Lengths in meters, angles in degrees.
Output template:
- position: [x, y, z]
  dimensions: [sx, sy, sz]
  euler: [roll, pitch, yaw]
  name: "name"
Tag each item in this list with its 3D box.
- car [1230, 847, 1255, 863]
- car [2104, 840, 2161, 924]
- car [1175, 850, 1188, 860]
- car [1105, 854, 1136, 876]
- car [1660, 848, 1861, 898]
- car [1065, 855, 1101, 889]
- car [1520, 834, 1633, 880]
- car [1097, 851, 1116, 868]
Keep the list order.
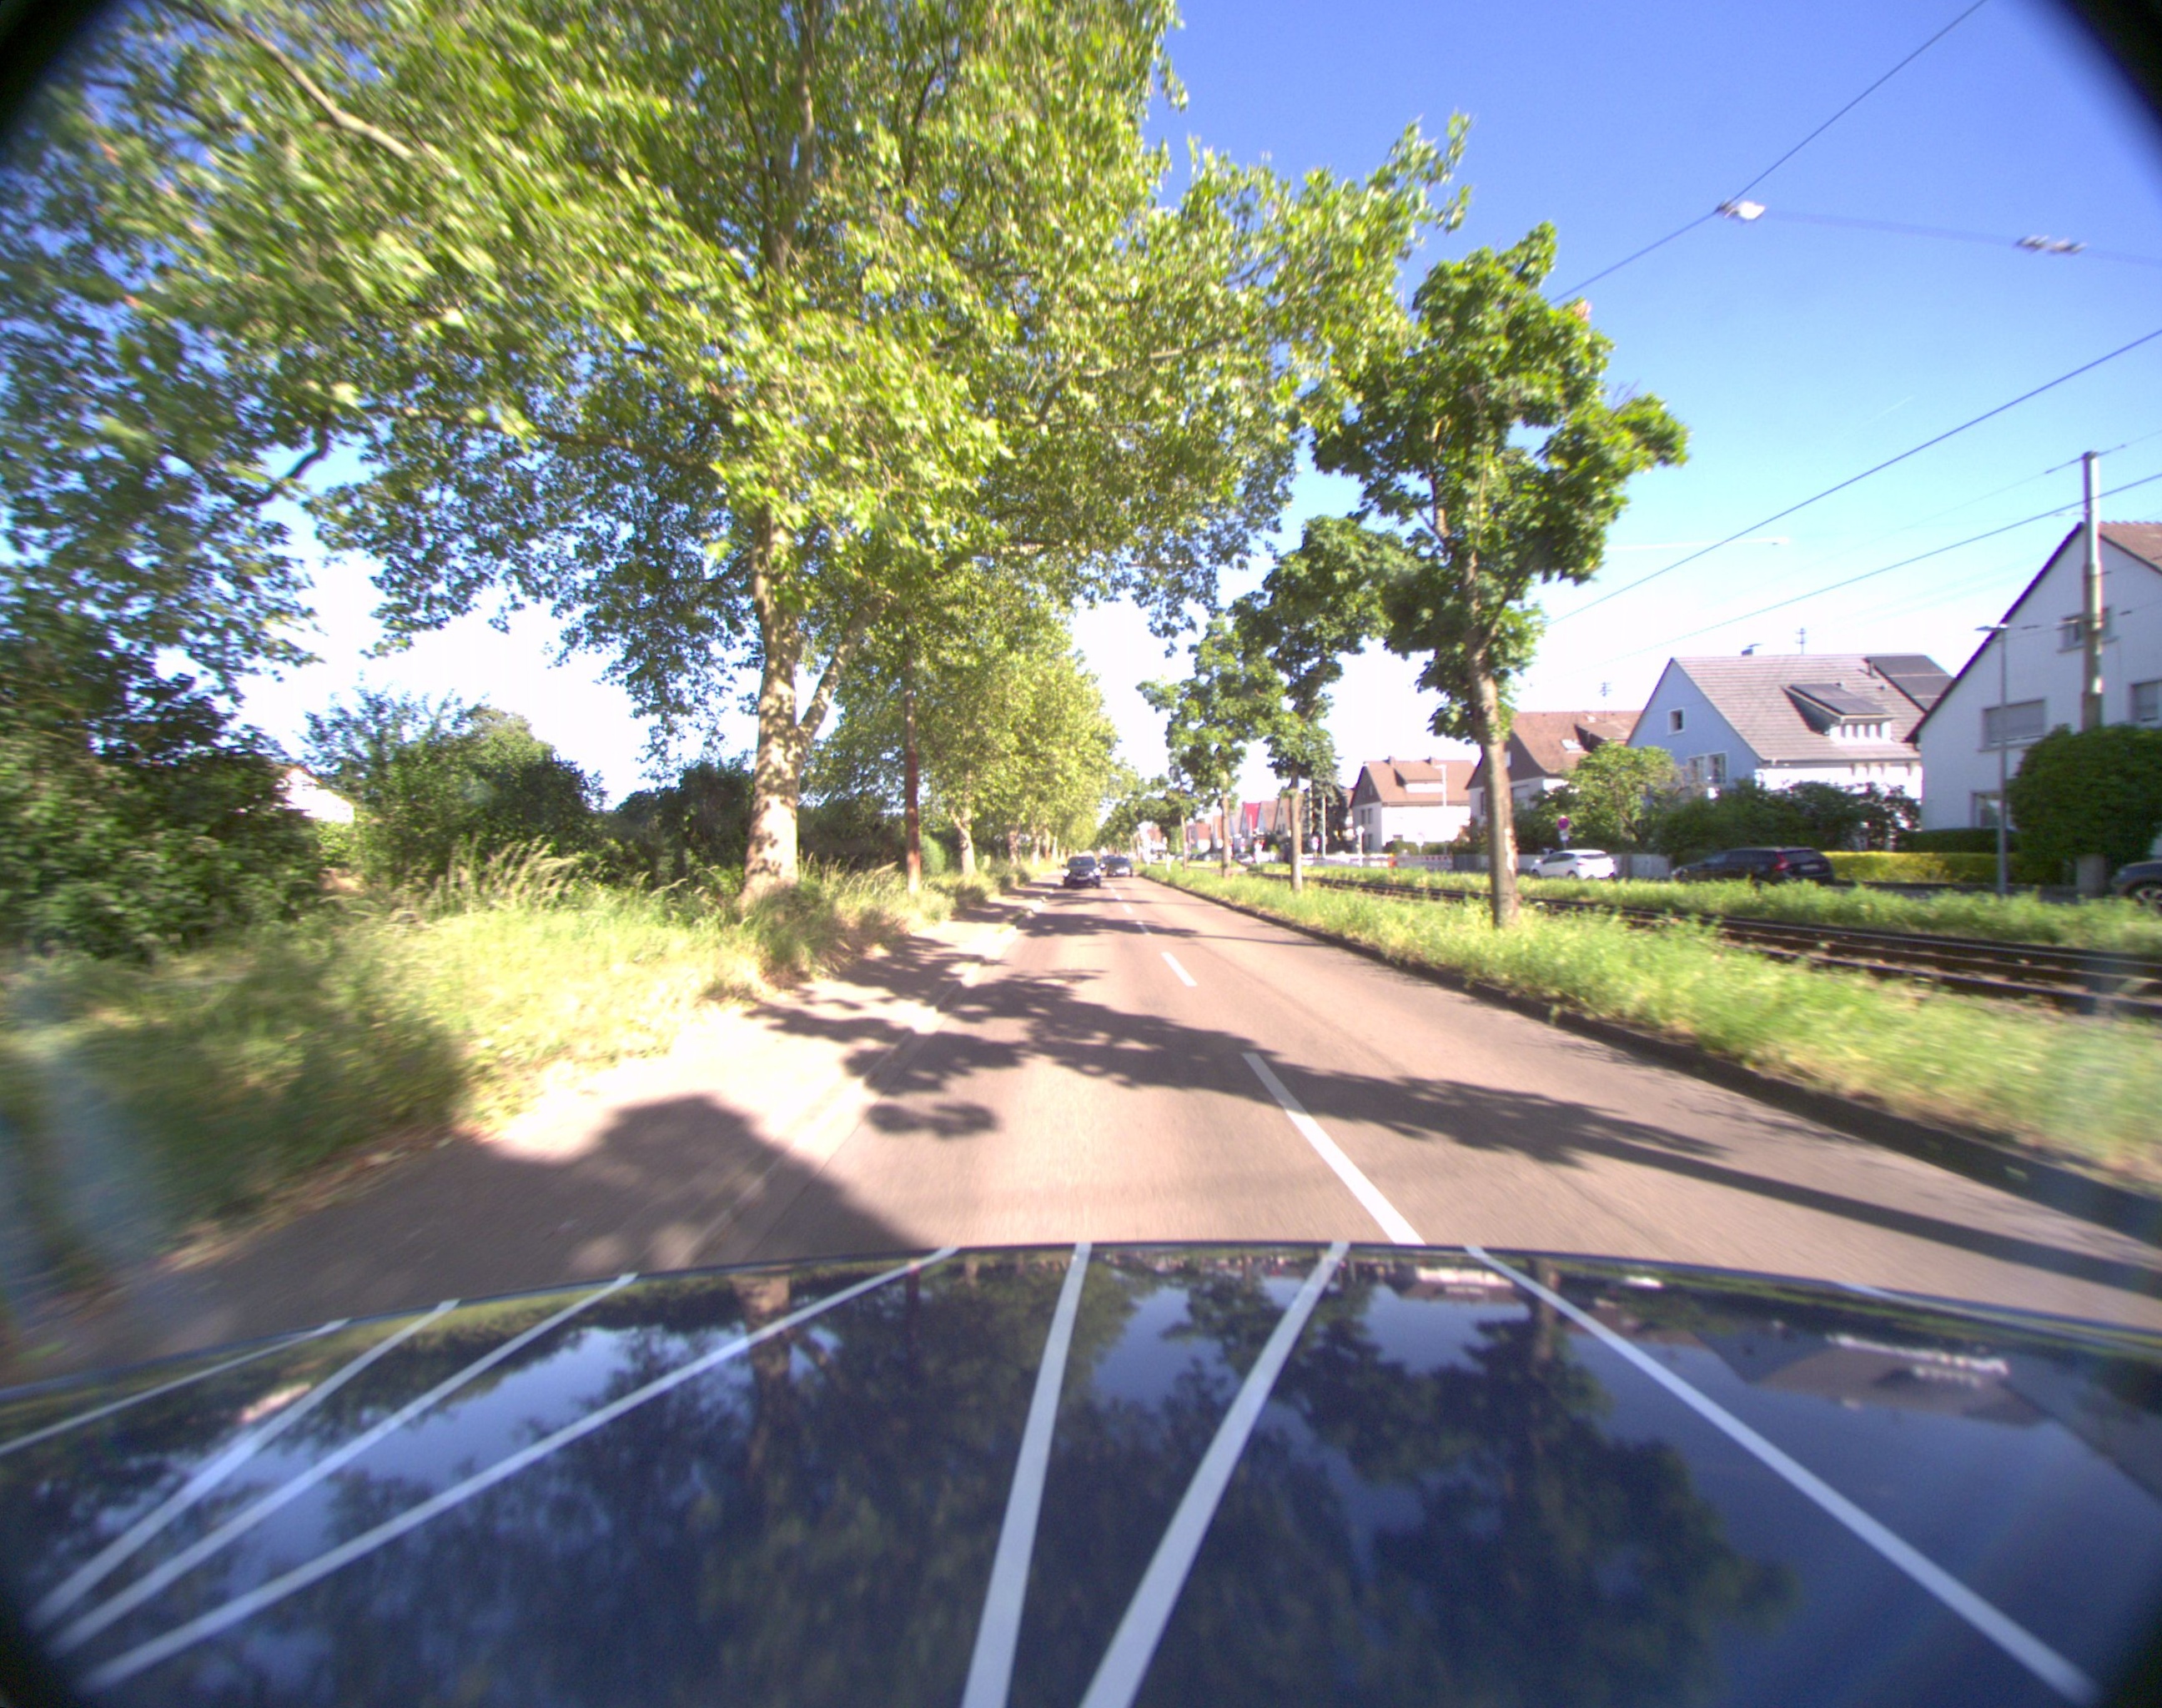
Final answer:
- position: [17.070, 0.085, 80.413]
  dimensions: [1.786, 1.674, 4.000]
  euler: [-1, 0, 1]
  name: "car"
- position: [21.323, 0.511, 12.865]
  dimensions: [1.888, 1.552, 4.536]
  euler: [-3, 0, 0]
  name: "car"
- position: [17.712, 0.149, 133.603]
  dimensions: [1.731, 1.581, 3.999]
  euler: [-1, 0, -1]
  name: "car"
- position: [2.803, 0.763, 54.518]
  dimensions: [1.780, 1.441, 4.332]
  euler: [-2, 0, -3]
  name: "car"
- position: [21.400, 0.532, 24.309]
  dimensions: [1.998, 1.333, 4.982]
  euler: [-2, 1, 1]
  name: "car"
- position: [0.087, 0.843, 37.430]
  dimensions: [1.673, 1.529, 3.586]
  euler: [-1, 0, -1]
  name: "car"
- position: [21.618, 0.120, 33.413]
  dimensions: [1.998, 1.852, 4.584]
  euler: [-1, 0, 1]
  name: "car"
- position: [2.548, 0.514, 77.834]
  dimensions: [1.780, 1.620, 4.287]
  euler: [-1, 0, 0]
  name: "car"
